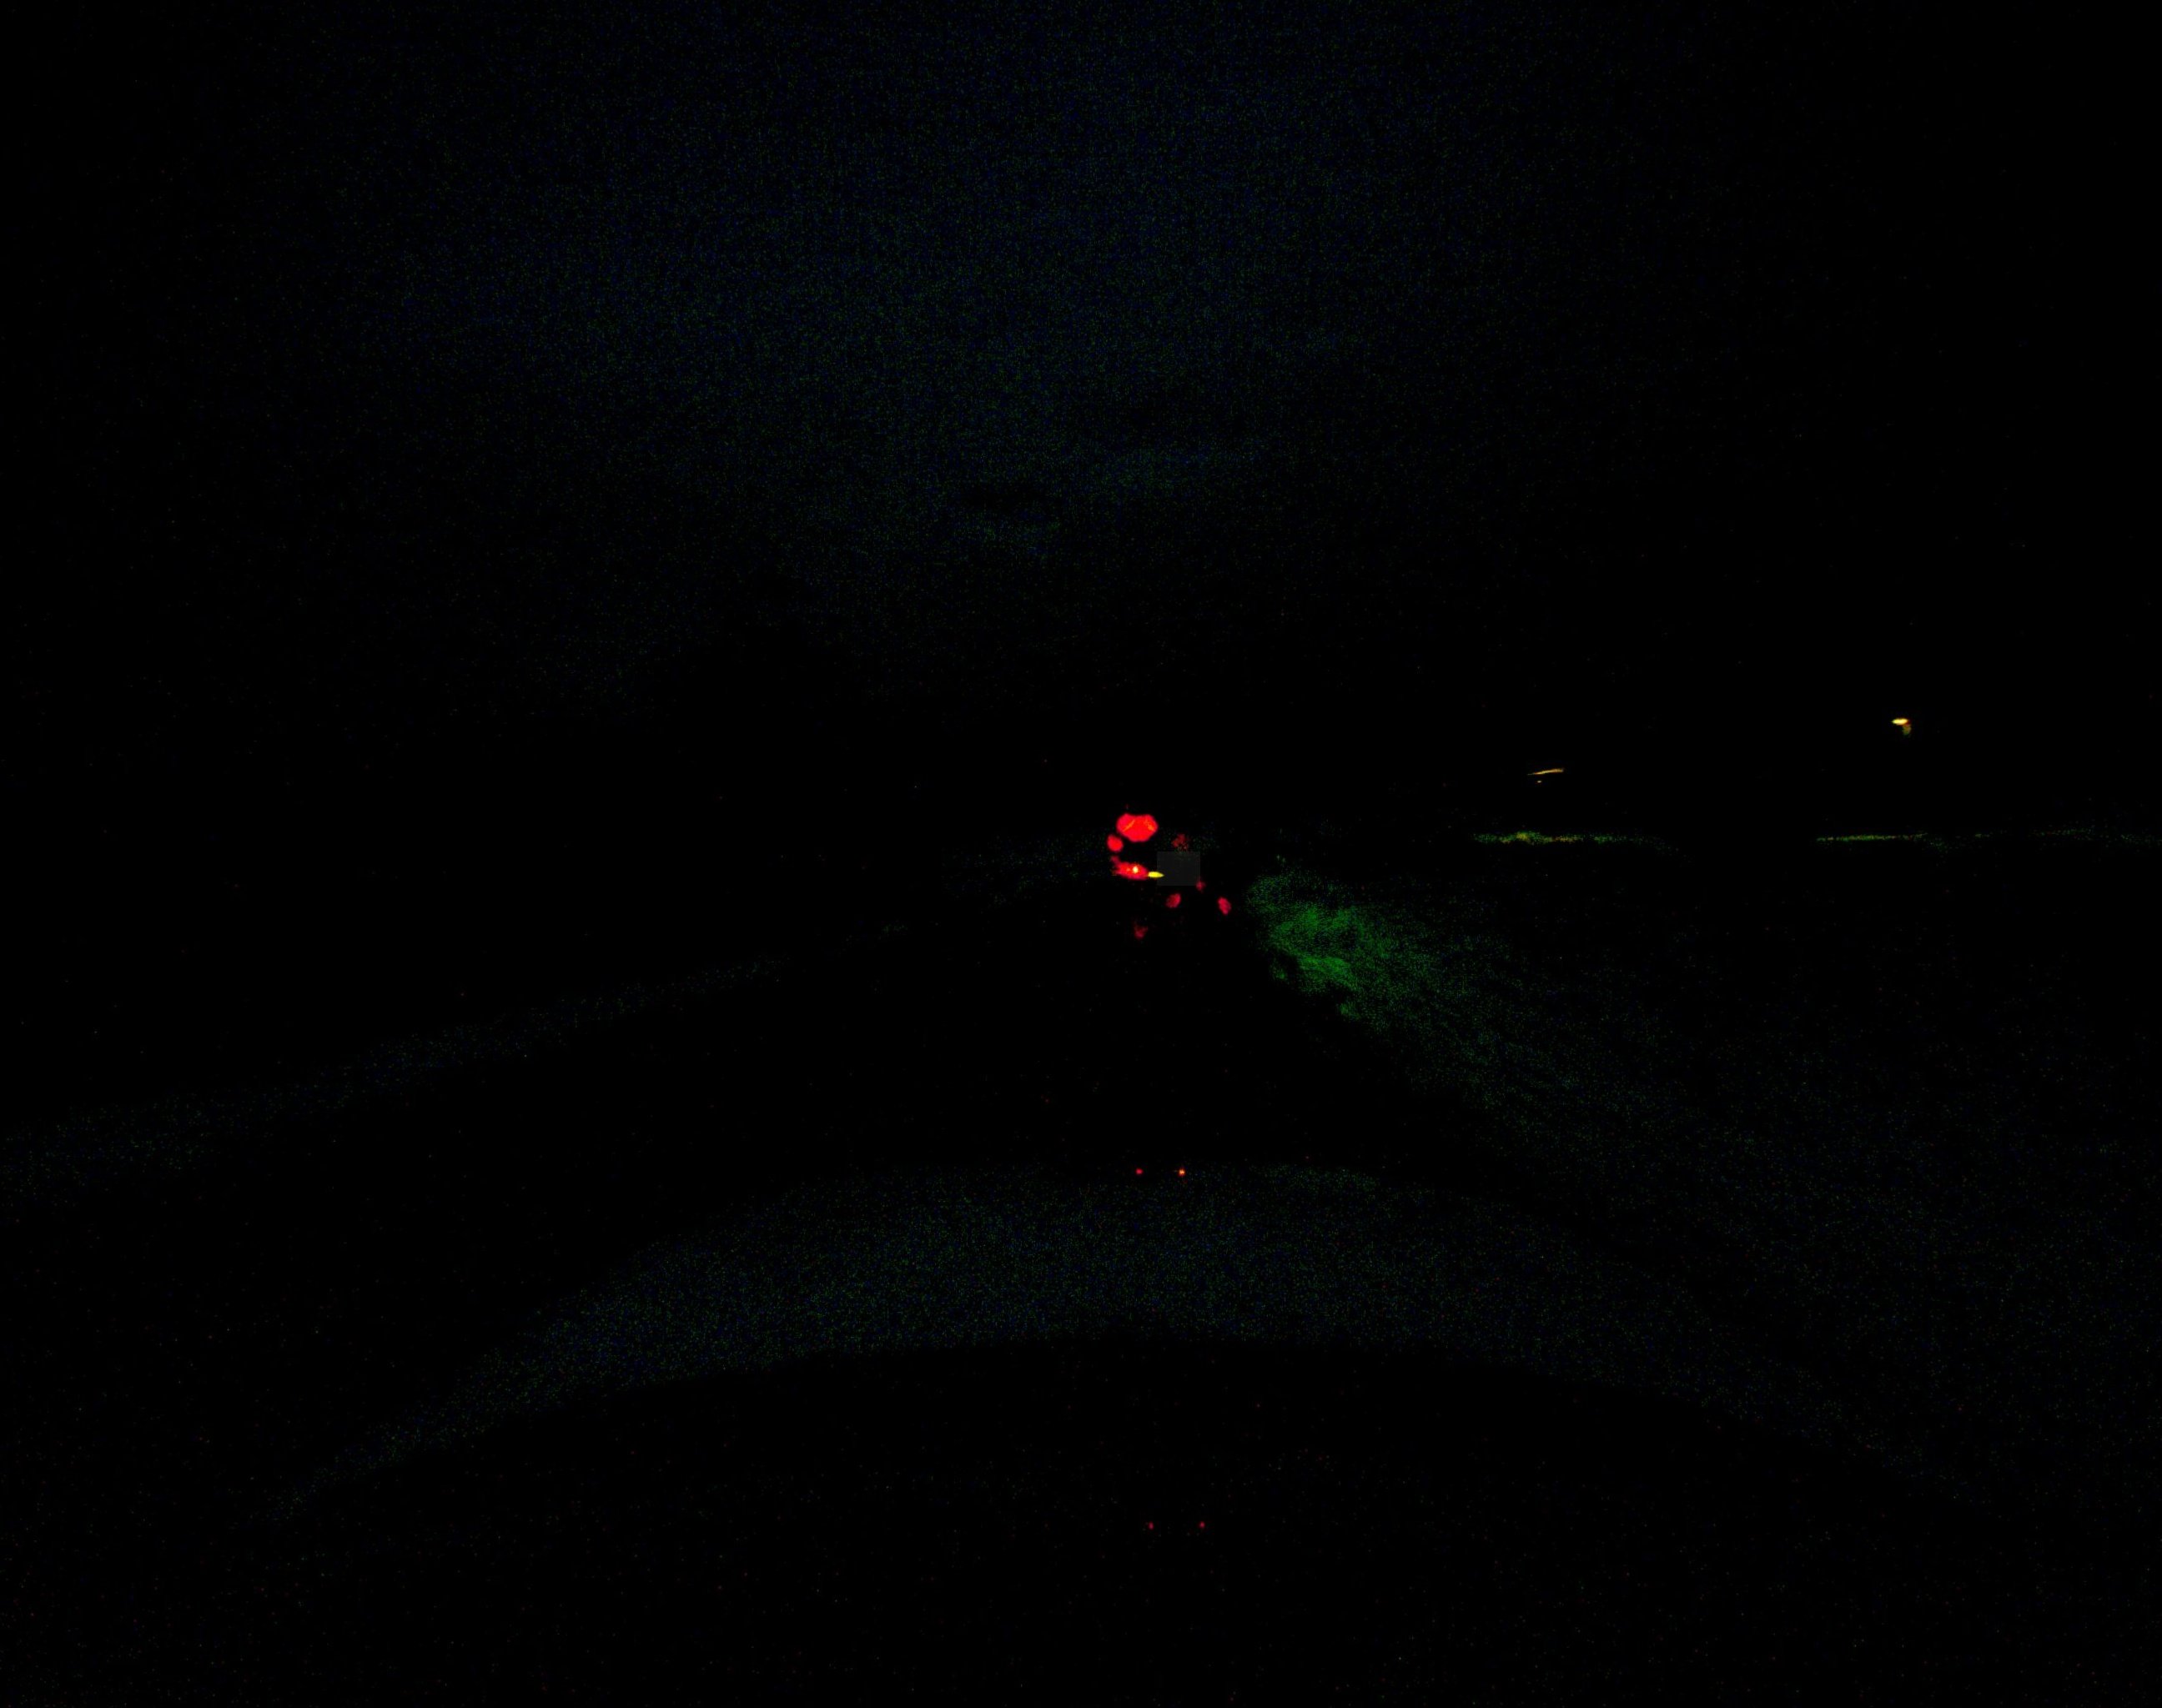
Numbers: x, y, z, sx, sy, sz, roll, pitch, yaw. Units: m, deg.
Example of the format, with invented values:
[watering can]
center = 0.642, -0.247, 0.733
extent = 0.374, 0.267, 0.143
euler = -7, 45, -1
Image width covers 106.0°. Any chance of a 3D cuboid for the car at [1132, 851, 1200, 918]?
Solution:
[car]
center = 2.592, 0.864, 24.922
extent = 1.813, 1.796, 3.583
euler = -3, 0, 5
